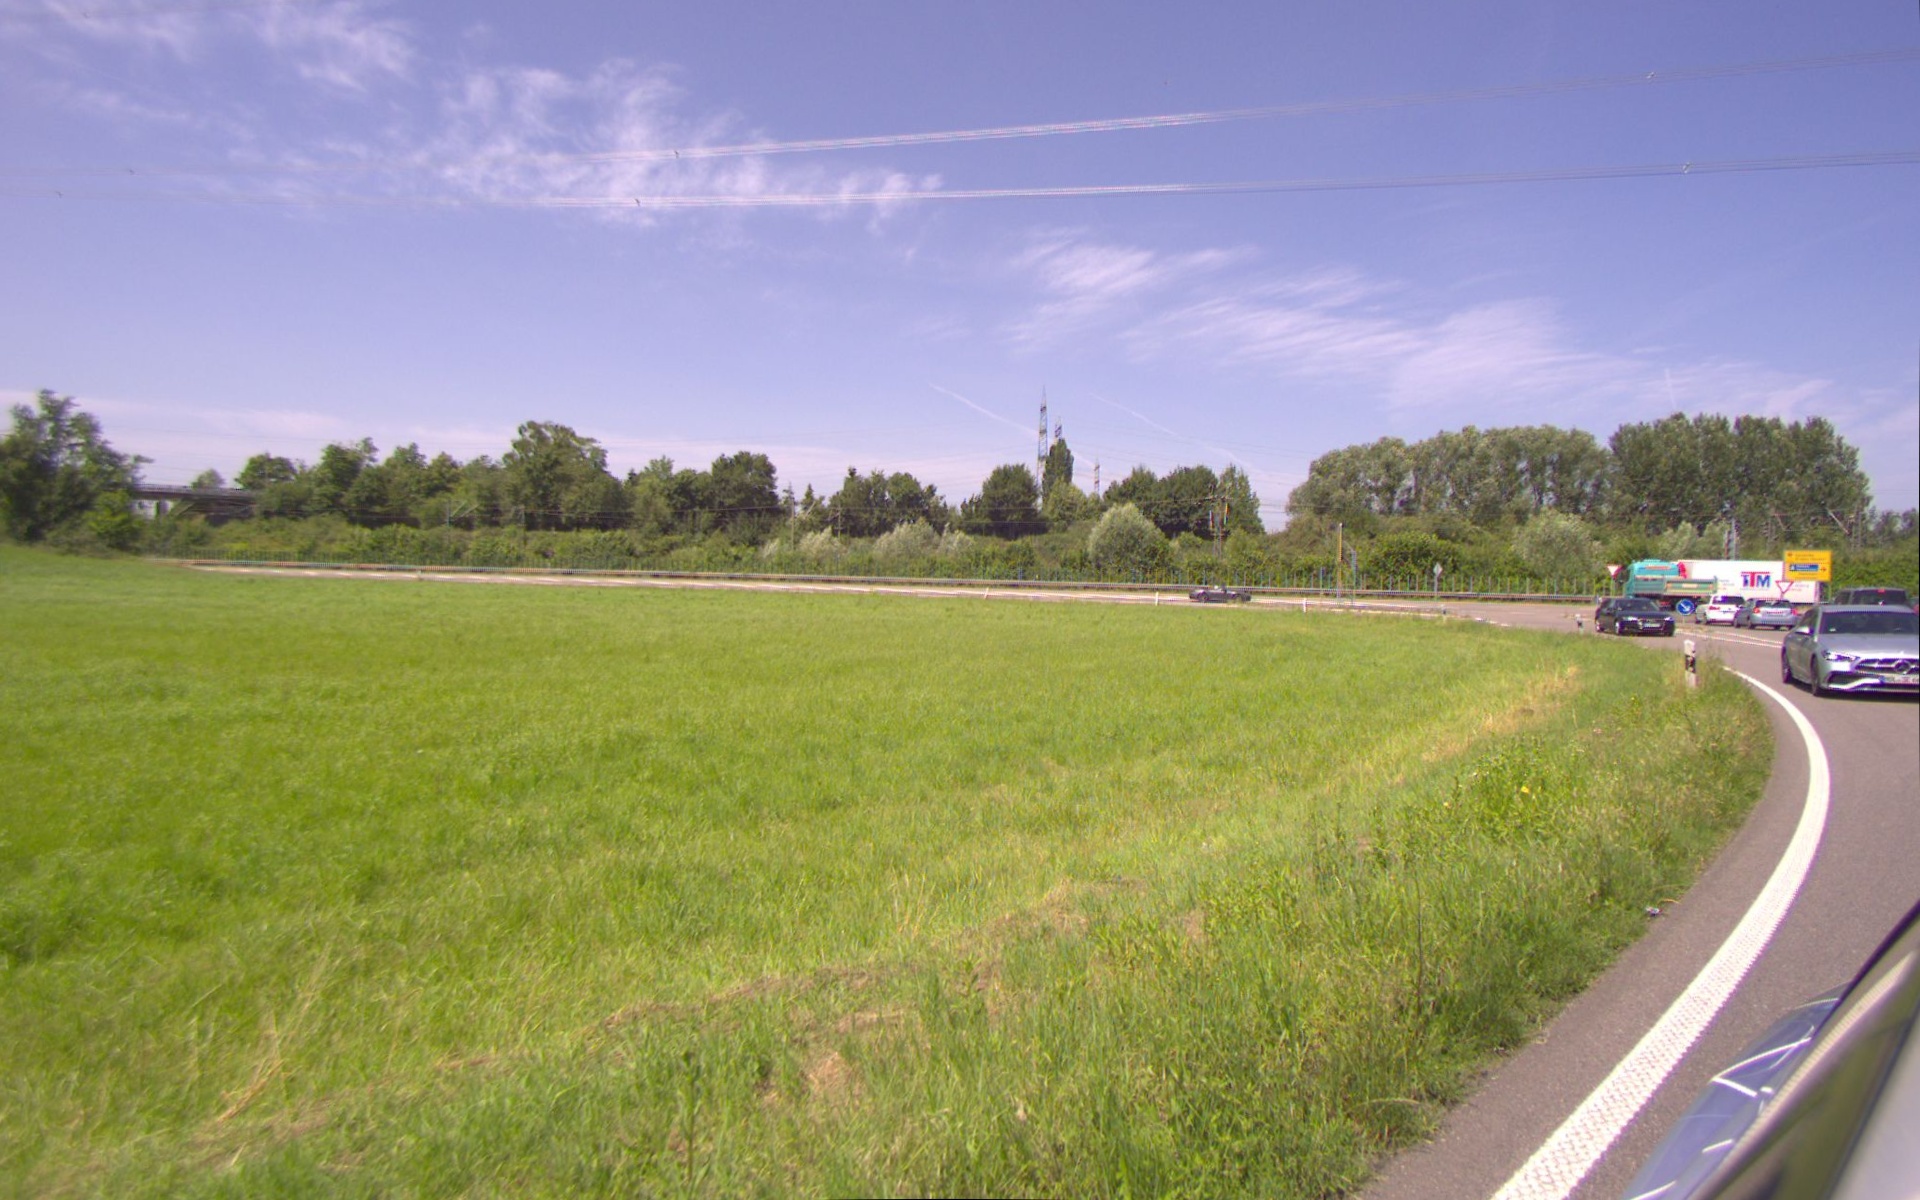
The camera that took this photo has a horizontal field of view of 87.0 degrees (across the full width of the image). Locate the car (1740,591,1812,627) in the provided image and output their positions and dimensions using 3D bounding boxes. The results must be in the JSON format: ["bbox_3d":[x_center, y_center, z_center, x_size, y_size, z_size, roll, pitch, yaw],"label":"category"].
[{"bbox_3d":[36.382,0.353,45.214,1.621,1.478,3.971,2,1,27],"label":"car"}]

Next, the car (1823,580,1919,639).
[{"bbox_3d":[32.224,0.272,35.610,1.916,1.855,4.394,2,2,29],"label":"car"}]

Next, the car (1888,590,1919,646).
[{"bbox_3d":[28.833,0.539,29.474,1.791,1.534,4.343,2,2,31],"label":"car"}]

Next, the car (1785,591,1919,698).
[{"bbox_3d":[15.087,0.643,16.636,1.812,1.505,4.102,1,2,32],"label":"car"}]

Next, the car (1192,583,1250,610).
[{"bbox_3d":[18.894,-0.254,73.274,3.946,1.745,1.716,2,2,17],"label":"car"}]

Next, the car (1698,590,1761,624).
[{"bbox_3d":[38.774,0.342,51.085,1.760,1.641,4.291,0,0,27],"label":"car"}]

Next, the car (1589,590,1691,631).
[{"bbox_3d":[26.083,0.376,38.989,1.797,1.458,4.133,1,0,12],"label":"car"}]

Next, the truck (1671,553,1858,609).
[{"bbox_3d":[53.536,-1.229,67.646,9.415,3.624,2.714,0,1,15],"label":"truck"}]

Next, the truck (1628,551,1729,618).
[{"bbox_3d":[41.089,-0.896,58.183,2.577,3.514,7.562,2,1,19],"label":"truck"}]
